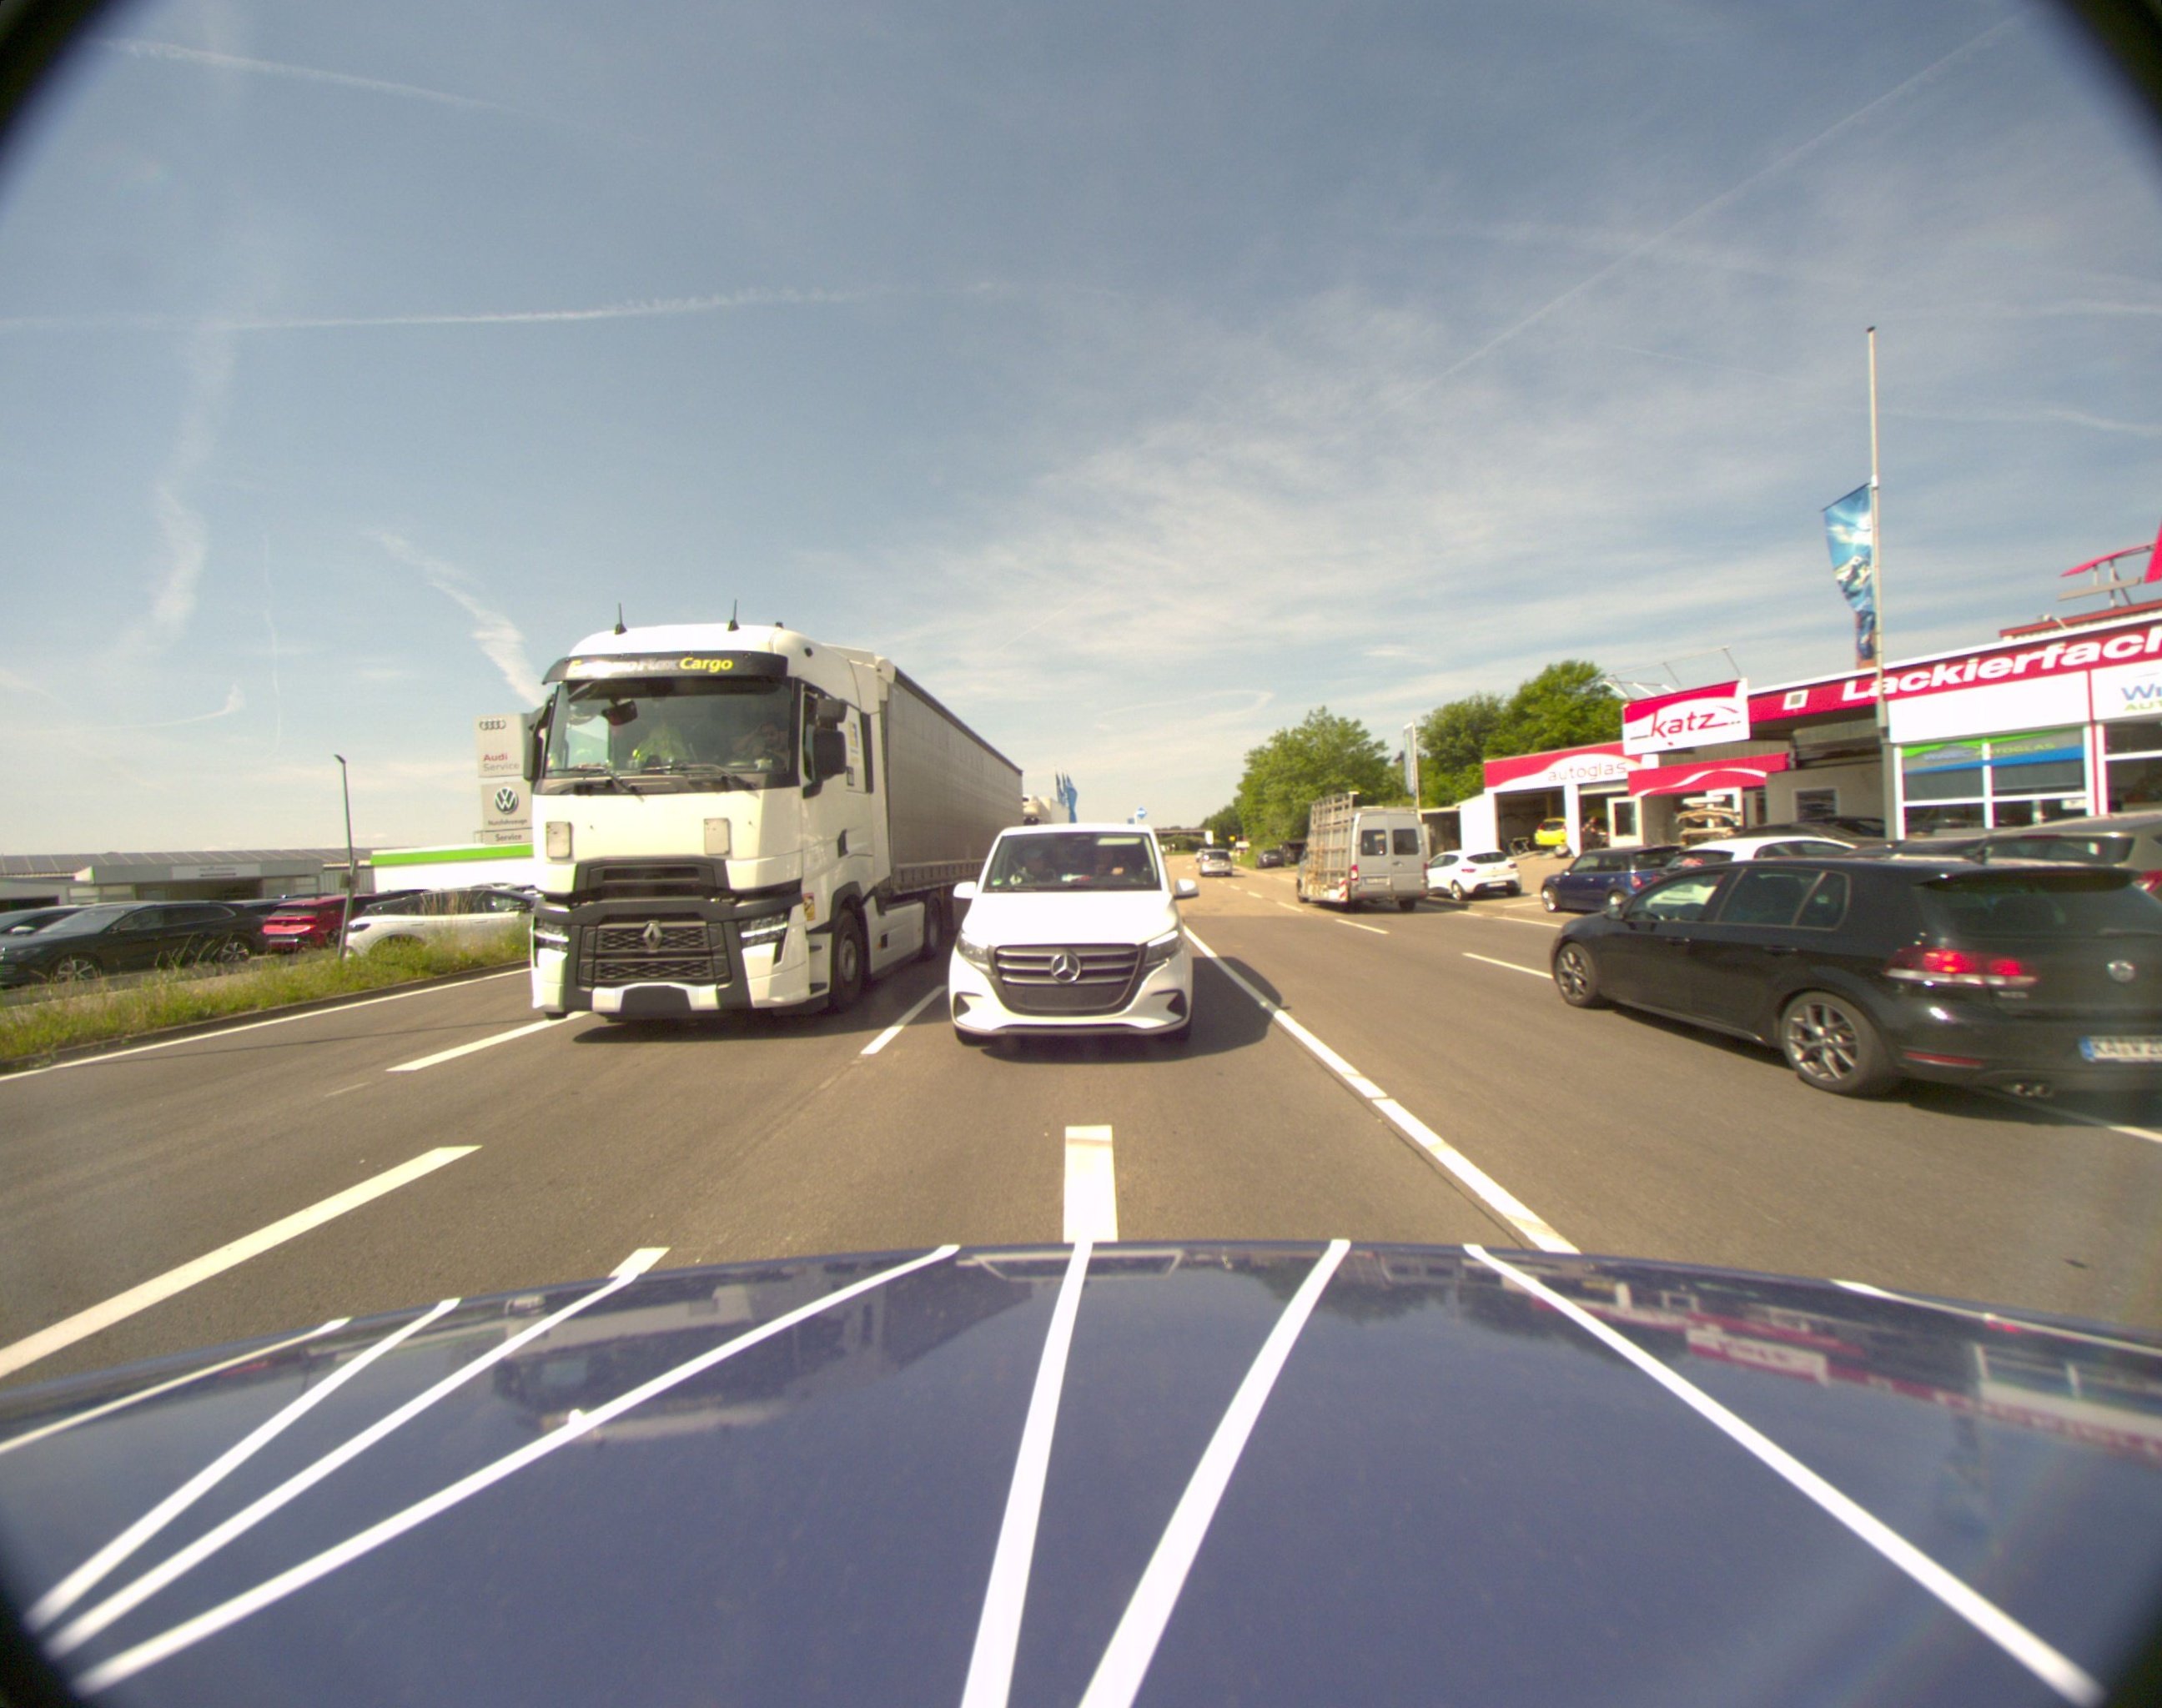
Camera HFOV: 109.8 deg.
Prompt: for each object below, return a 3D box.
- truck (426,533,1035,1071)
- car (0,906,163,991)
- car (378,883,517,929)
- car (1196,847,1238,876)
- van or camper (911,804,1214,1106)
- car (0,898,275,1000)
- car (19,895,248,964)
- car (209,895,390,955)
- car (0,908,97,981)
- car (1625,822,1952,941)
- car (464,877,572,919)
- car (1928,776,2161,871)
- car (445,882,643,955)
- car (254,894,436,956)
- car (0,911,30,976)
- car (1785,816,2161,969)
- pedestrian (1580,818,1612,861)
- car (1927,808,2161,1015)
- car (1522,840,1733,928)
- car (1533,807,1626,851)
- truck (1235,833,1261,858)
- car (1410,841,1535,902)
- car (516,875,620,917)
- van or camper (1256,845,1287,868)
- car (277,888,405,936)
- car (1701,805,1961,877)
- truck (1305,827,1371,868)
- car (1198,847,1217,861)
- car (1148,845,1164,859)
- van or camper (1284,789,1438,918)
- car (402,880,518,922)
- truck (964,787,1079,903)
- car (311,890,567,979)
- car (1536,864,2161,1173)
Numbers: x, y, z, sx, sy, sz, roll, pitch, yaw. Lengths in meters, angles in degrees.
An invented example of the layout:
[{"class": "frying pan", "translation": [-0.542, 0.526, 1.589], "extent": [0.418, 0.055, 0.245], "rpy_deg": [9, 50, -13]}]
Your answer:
[{"class": "truck", "translation": [-3.349, -0.469, 14.490], "extent": [2.897, 4.241, 16.711], "rpy_deg": [-2, 1, 3]}, {"class": "car", "translation": [-23.705, 2.128, 16.838], "extent": [1.856, 1.608, 3.828], "rpy_deg": [-2, 0, 5]}, {"class": "car", "translation": [-24.878, 2.018, 29.914], "extent": [3.996, 1.565, 1.790], "rpy_deg": [-2, 1, 3]}, {"class": "car", "translation": [8.175, 0.431, 45.958], "extent": [1.914, 1.653, 4.181], "rpy_deg": [-1, 1, 2]}, {"class": "van or camper", "translation": [0.019, 0.693, 7.859], "extent": [1.998, 2.002, 5.291], "rpy_deg": [-3, 0, 3]}, {"class": "car", "translation": [-21.223, 1.984, 16.783], "extent": [1.998, 1.647, 4.283], "rpy_deg": [-2, 0, 5]}, {"class": "car", "translation": [-28.438, 2.209, 23.032], "extent": [1.707, 1.608, 3.971], "rpy_deg": [-2, 0, 7]}, {"class": "car", "translation": [-23.146, 2.050, 22.708], "extent": [1.562, 1.401, 3.596], "rpy_deg": [-1, 1, 4]}, {"class": "car", "translation": [-26.394, 2.234, 17.637], "extent": [1.707, 1.608, 3.970], "rpy_deg": [-2, 0, 5]}, {"class": "car", "translation": [11.917, 0.435, 12.998], "extent": [3.805, 1.516, 1.846], "rpy_deg": [-6, 1, -1]}, {"class": "car", "translation": [-25.219, 1.934, 34.236], "extent": [1.789, 1.565, 4.000], "rpy_deg": [-2, 0, 1]}, {"class": "car", "translation": [20.814, -0.608, 15.873], "extent": [1.706, 1.749, 3.754], "rpy_deg": [-6, 2, -24]}, {"class": "car", "translation": [-13.066, 1.520, 18.772], "extent": [3.668, 1.394, 1.735], "rpy_deg": [-3, 1, -25]}, {"class": "car", "translation": [-20.837, 1.961, 21.733], "extent": [1.562, 1.401, 3.596], "rpy_deg": [-1, 1, 4]}, {"class": "car", "translation": [-28.483, 2.356, 17.909], "extent": [1.707, 1.608, 3.970], "rpy_deg": [-2, 0, 5]}, {"class": "car", "translation": [12.143, 0.447, 10.158], "extent": [3.717, 1.516, 1.792], "rpy_deg": [-6, 1, -1]}, {"class": "pedestrian", "translation": [21.533, -0.621, 31.782], "extent": [0.724, 1.752, 0.895], "rpy_deg": [-3, 2, 5]}, {"class": "car", "translation": [11.642, 0.407, 7.742], "extent": [3.895, 1.707, 1.806], "rpy_deg": [-6, 1, 1]}, {"class": "car", "translation": [11.380, 0.546, 16.186], "extent": [1.783, 1.485, 3.782], "rpy_deg": [-6, 0, 3]}, {"class": "car", "translation": [23.504, -1.157, 35.849], "extent": [3.674, 1.715, 1.736], "rpy_deg": [-6, 2, -20]}, {"class": "truck", "translation": [30.354, -1.516, 137.399], "extent": [2.959, 4.184, 10.662], "rpy_deg": [0, 0, 21]}, {"class": "car", "translation": [11.615, 0.467, 22.866], "extent": [1.783, 1.608, 4.000], "rpy_deg": [-3, 1, 3]}, {"class": "car", "translation": [-22.579, 1.819, 33.633], "extent": [1.789, 1.565, 4.000], "rpy_deg": [-2, 0, 1]}, {"class": "van or camper", "translation": [14.437, 0.165, 57.876], "extent": [1.643, 1.515, 4.469], "rpy_deg": [-3, 1, 6]}, {"class": "car", "translation": [-30.138, 2.342, 31.001], "extent": [3.648, 1.641, 1.755], "rpy_deg": [-3, 1, 6]}, {"class": "car", "translation": [19.325, -0.258, 19.883], "extent": [1.861, 1.496, 4.390], "rpy_deg": [-5, -1, -21]}, {"class": "truck", "translation": [17.389, -0.482, 51.990], "extent": [2.335, 2.283, 8.806], "rpy_deg": [-7, 0, 8]}, {"class": "car", "translation": [14.398, -0.014, 86.303], "extent": [1.912, 1.512, 4.785], "rpy_deg": [-2, 0, 12]}, {"class": "car", "translation": [8.806, -0.226, 89.018], "extent": [1.810, 1.551, 4.388], "rpy_deg": [-1, 0, 5]}, {"class": "van or camper", "translation": [7.458, -0.024, 21.072], "extent": [2.212, 3.038, 5.902], "rpy_deg": [-1, 0, 2]}, {"class": "car", "translation": [-27.723, 2.069, 34.090], "extent": [1.789, 1.565, 4.000], "rpy_deg": [-2, 0, 1]}, {"class": "truck", "translation": [-2.023, -0.339, 30.996], "extent": [2.885, 3.789, 11.143], "rpy_deg": [-2, 1, 4]}, {"class": "car", "translation": [-13.061, 1.574, 15.770], "extent": [3.668, 1.394, 1.735], "rpy_deg": [-3, 1, -25]}, {"class": "car", "translation": [5.317, 0.822, 5.610], "extent": [1.670, 1.401, 3.926], "rpy_deg": [-1, 0, 2]}]
